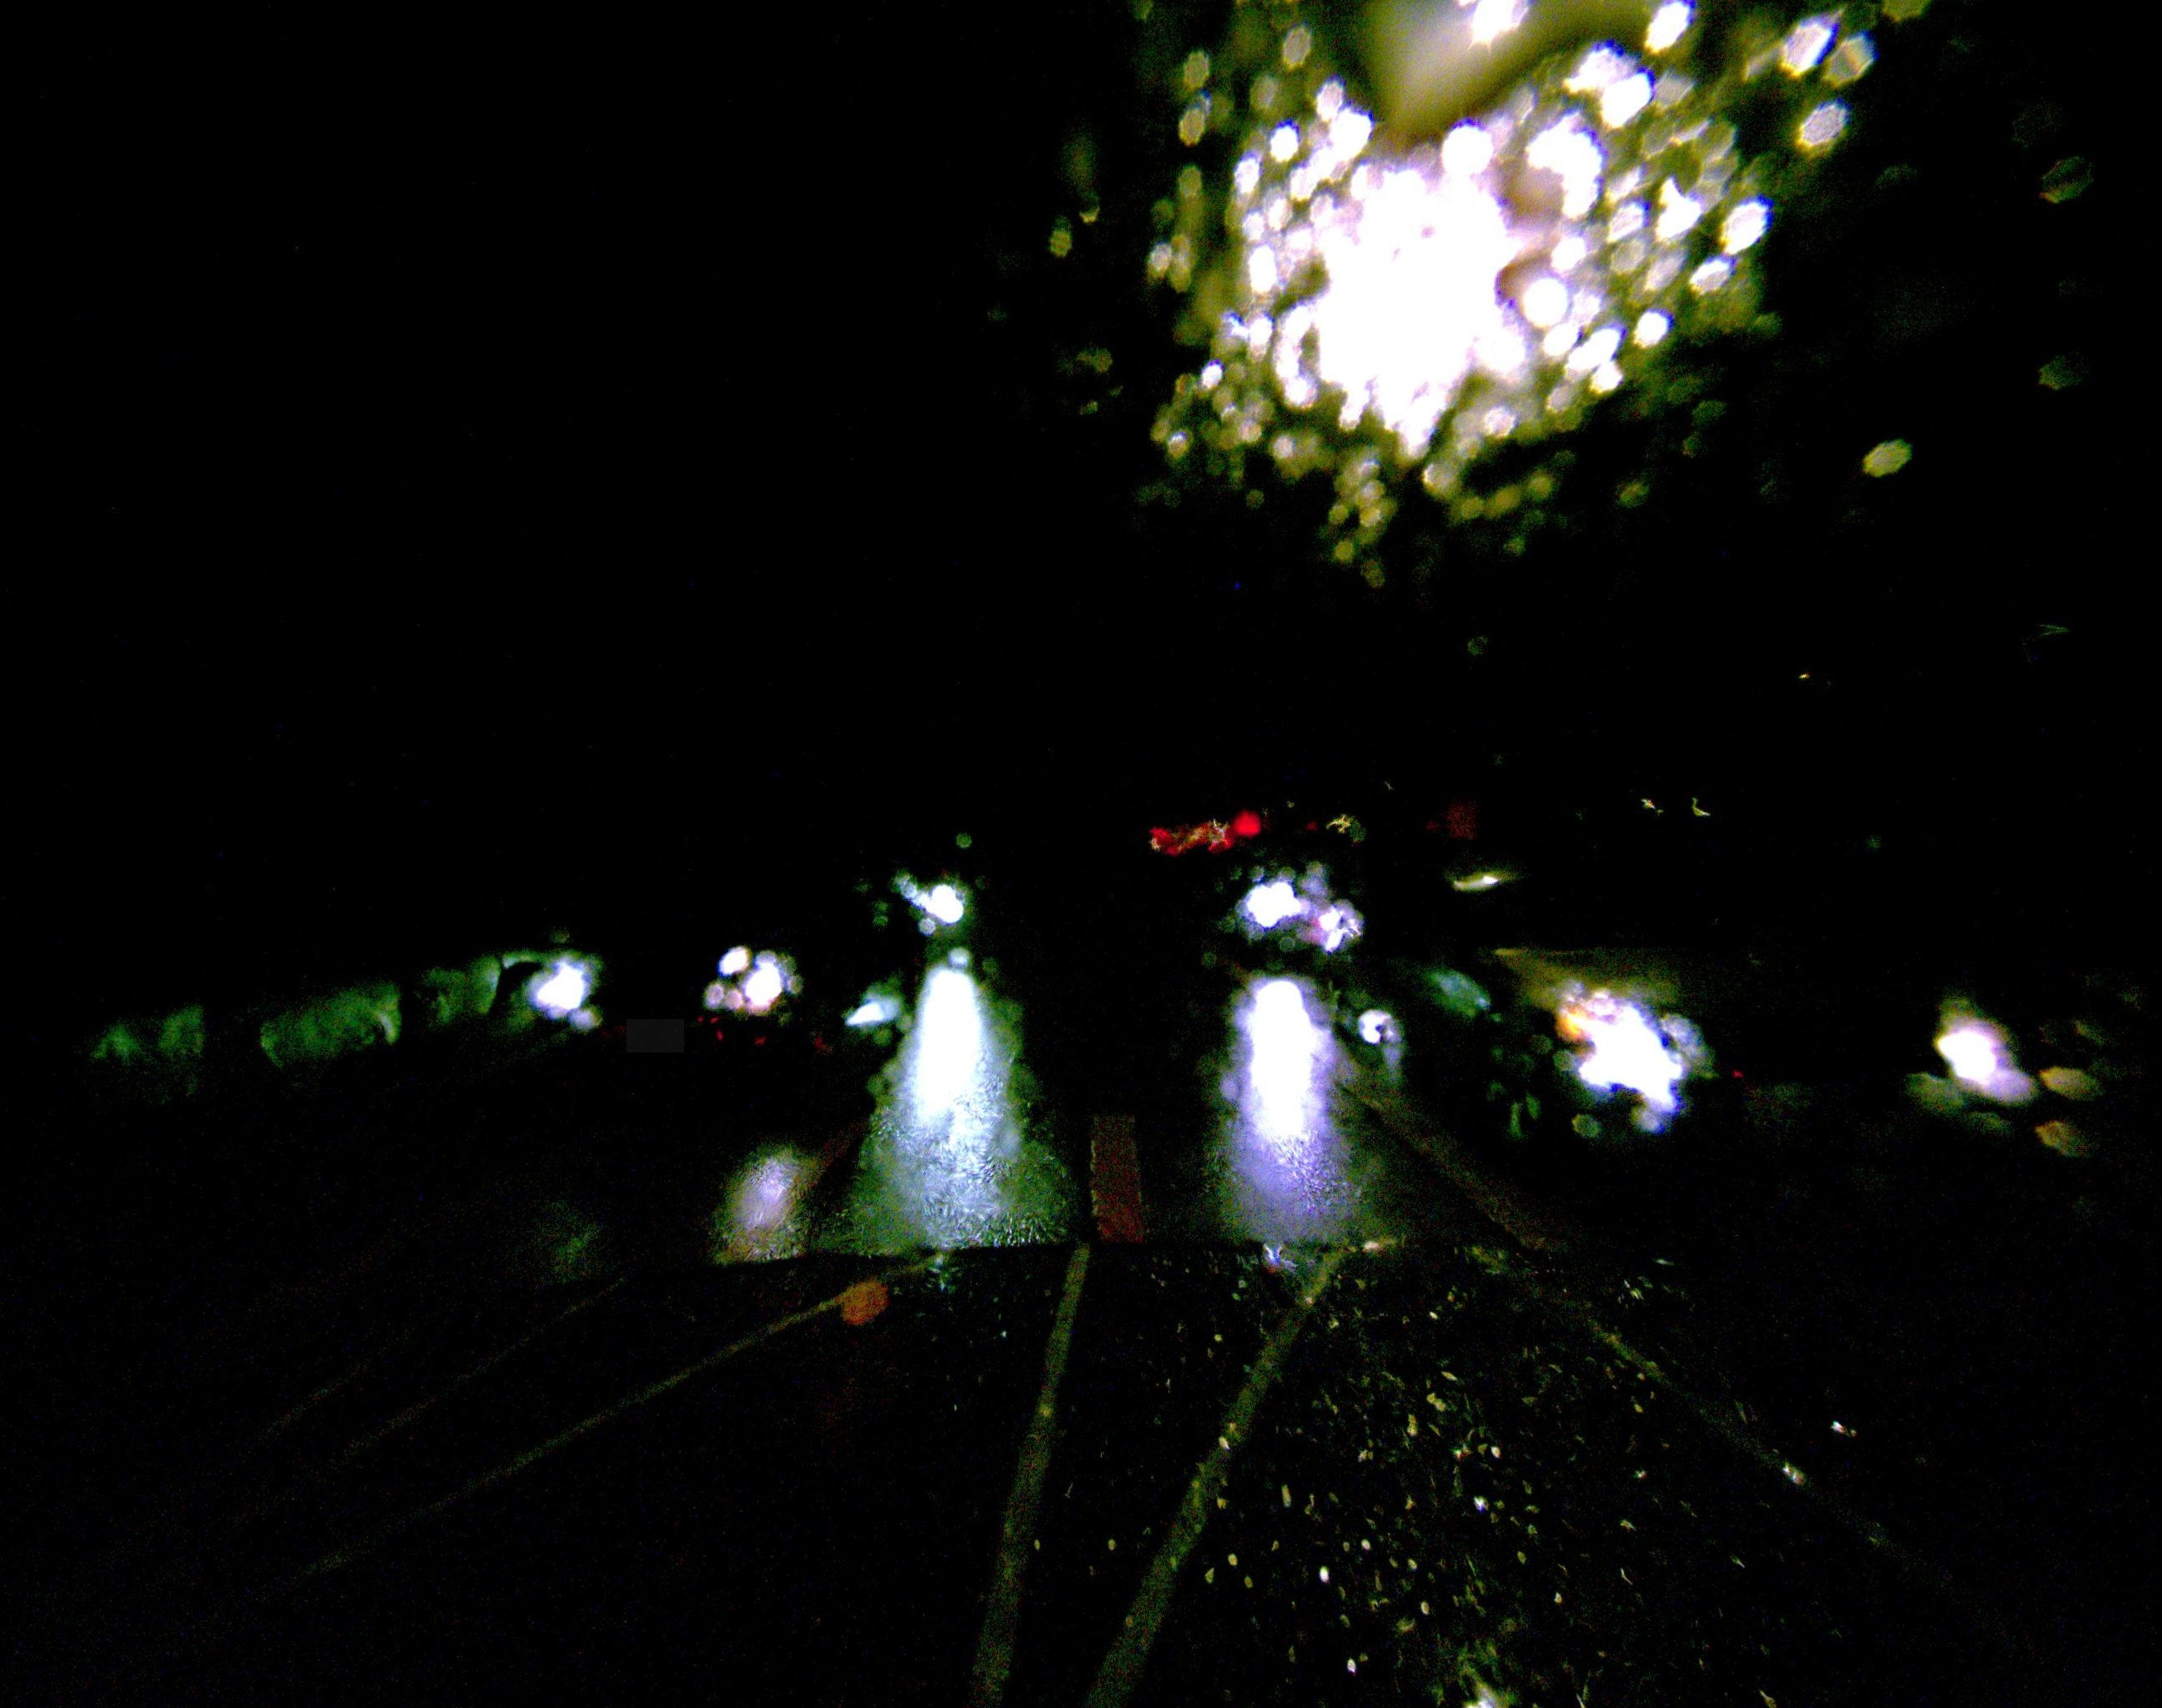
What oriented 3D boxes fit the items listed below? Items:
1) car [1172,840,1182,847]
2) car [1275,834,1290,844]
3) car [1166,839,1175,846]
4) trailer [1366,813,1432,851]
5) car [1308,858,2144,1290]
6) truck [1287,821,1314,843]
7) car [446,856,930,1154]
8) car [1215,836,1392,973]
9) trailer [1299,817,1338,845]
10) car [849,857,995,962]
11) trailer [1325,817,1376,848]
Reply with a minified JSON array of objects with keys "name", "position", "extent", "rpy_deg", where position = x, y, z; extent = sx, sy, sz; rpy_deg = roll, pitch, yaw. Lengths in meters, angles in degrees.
[{"name":"car","position":[21.882,-2.406,172.674],"extent":[1.765,1.632,4.652],"rpy_deg":[-3,1,2]},{"name":"car","position":[37.753,-2.779,142.255],"extent":[1.790,1.684,4.219],"rpy_deg":[-4,0,4]},{"name":"car","position":[22.983,-2.971,195.145],"extent":[1.806,1.579,4.031],"rpy_deg":[-3,1,3]},{"name":"trailer","position":[44.628,-3.081,107.382],"extent":[3.980,4.584,14.248],"rpy_deg":[-6,1,5]},{"name":"car","position":[2.988,0.820,4.975],"extent":[1.788,1.502,4.436],"rpy_deg":[-1,1,2]},{"name":"truck","position":[49.669,-4.972,172.418],"extent":[3.446,4.584,10.213],"rpy_deg":[-6,1,5]},{"name":"car","position":[-2.763,0.911,6.624],"extent":[1.790,1.684,4.219],"rpy_deg":[-2,0,3]},{"name":"car","position":[3.318,0.654,12.243],"extent":[1.788,1.772,4.437],"rpy_deg":[-2,0,4]},{"name":"trailer","position":[48.349,-4.725,155.336],"extent":[3.980,4.984,14.836],"rpy_deg":[-6,1,5]},{"name":"car","position":[-2.915,0.946,14.945],"extent":[1.788,1.638,4.436],"rpy_deg":[-3,0,1]},{"name":"trailer","position":[45.647,-3.607,129.387],"extent":[3.979,4.584,15.516],"rpy_deg":[-6,1,5]}]
